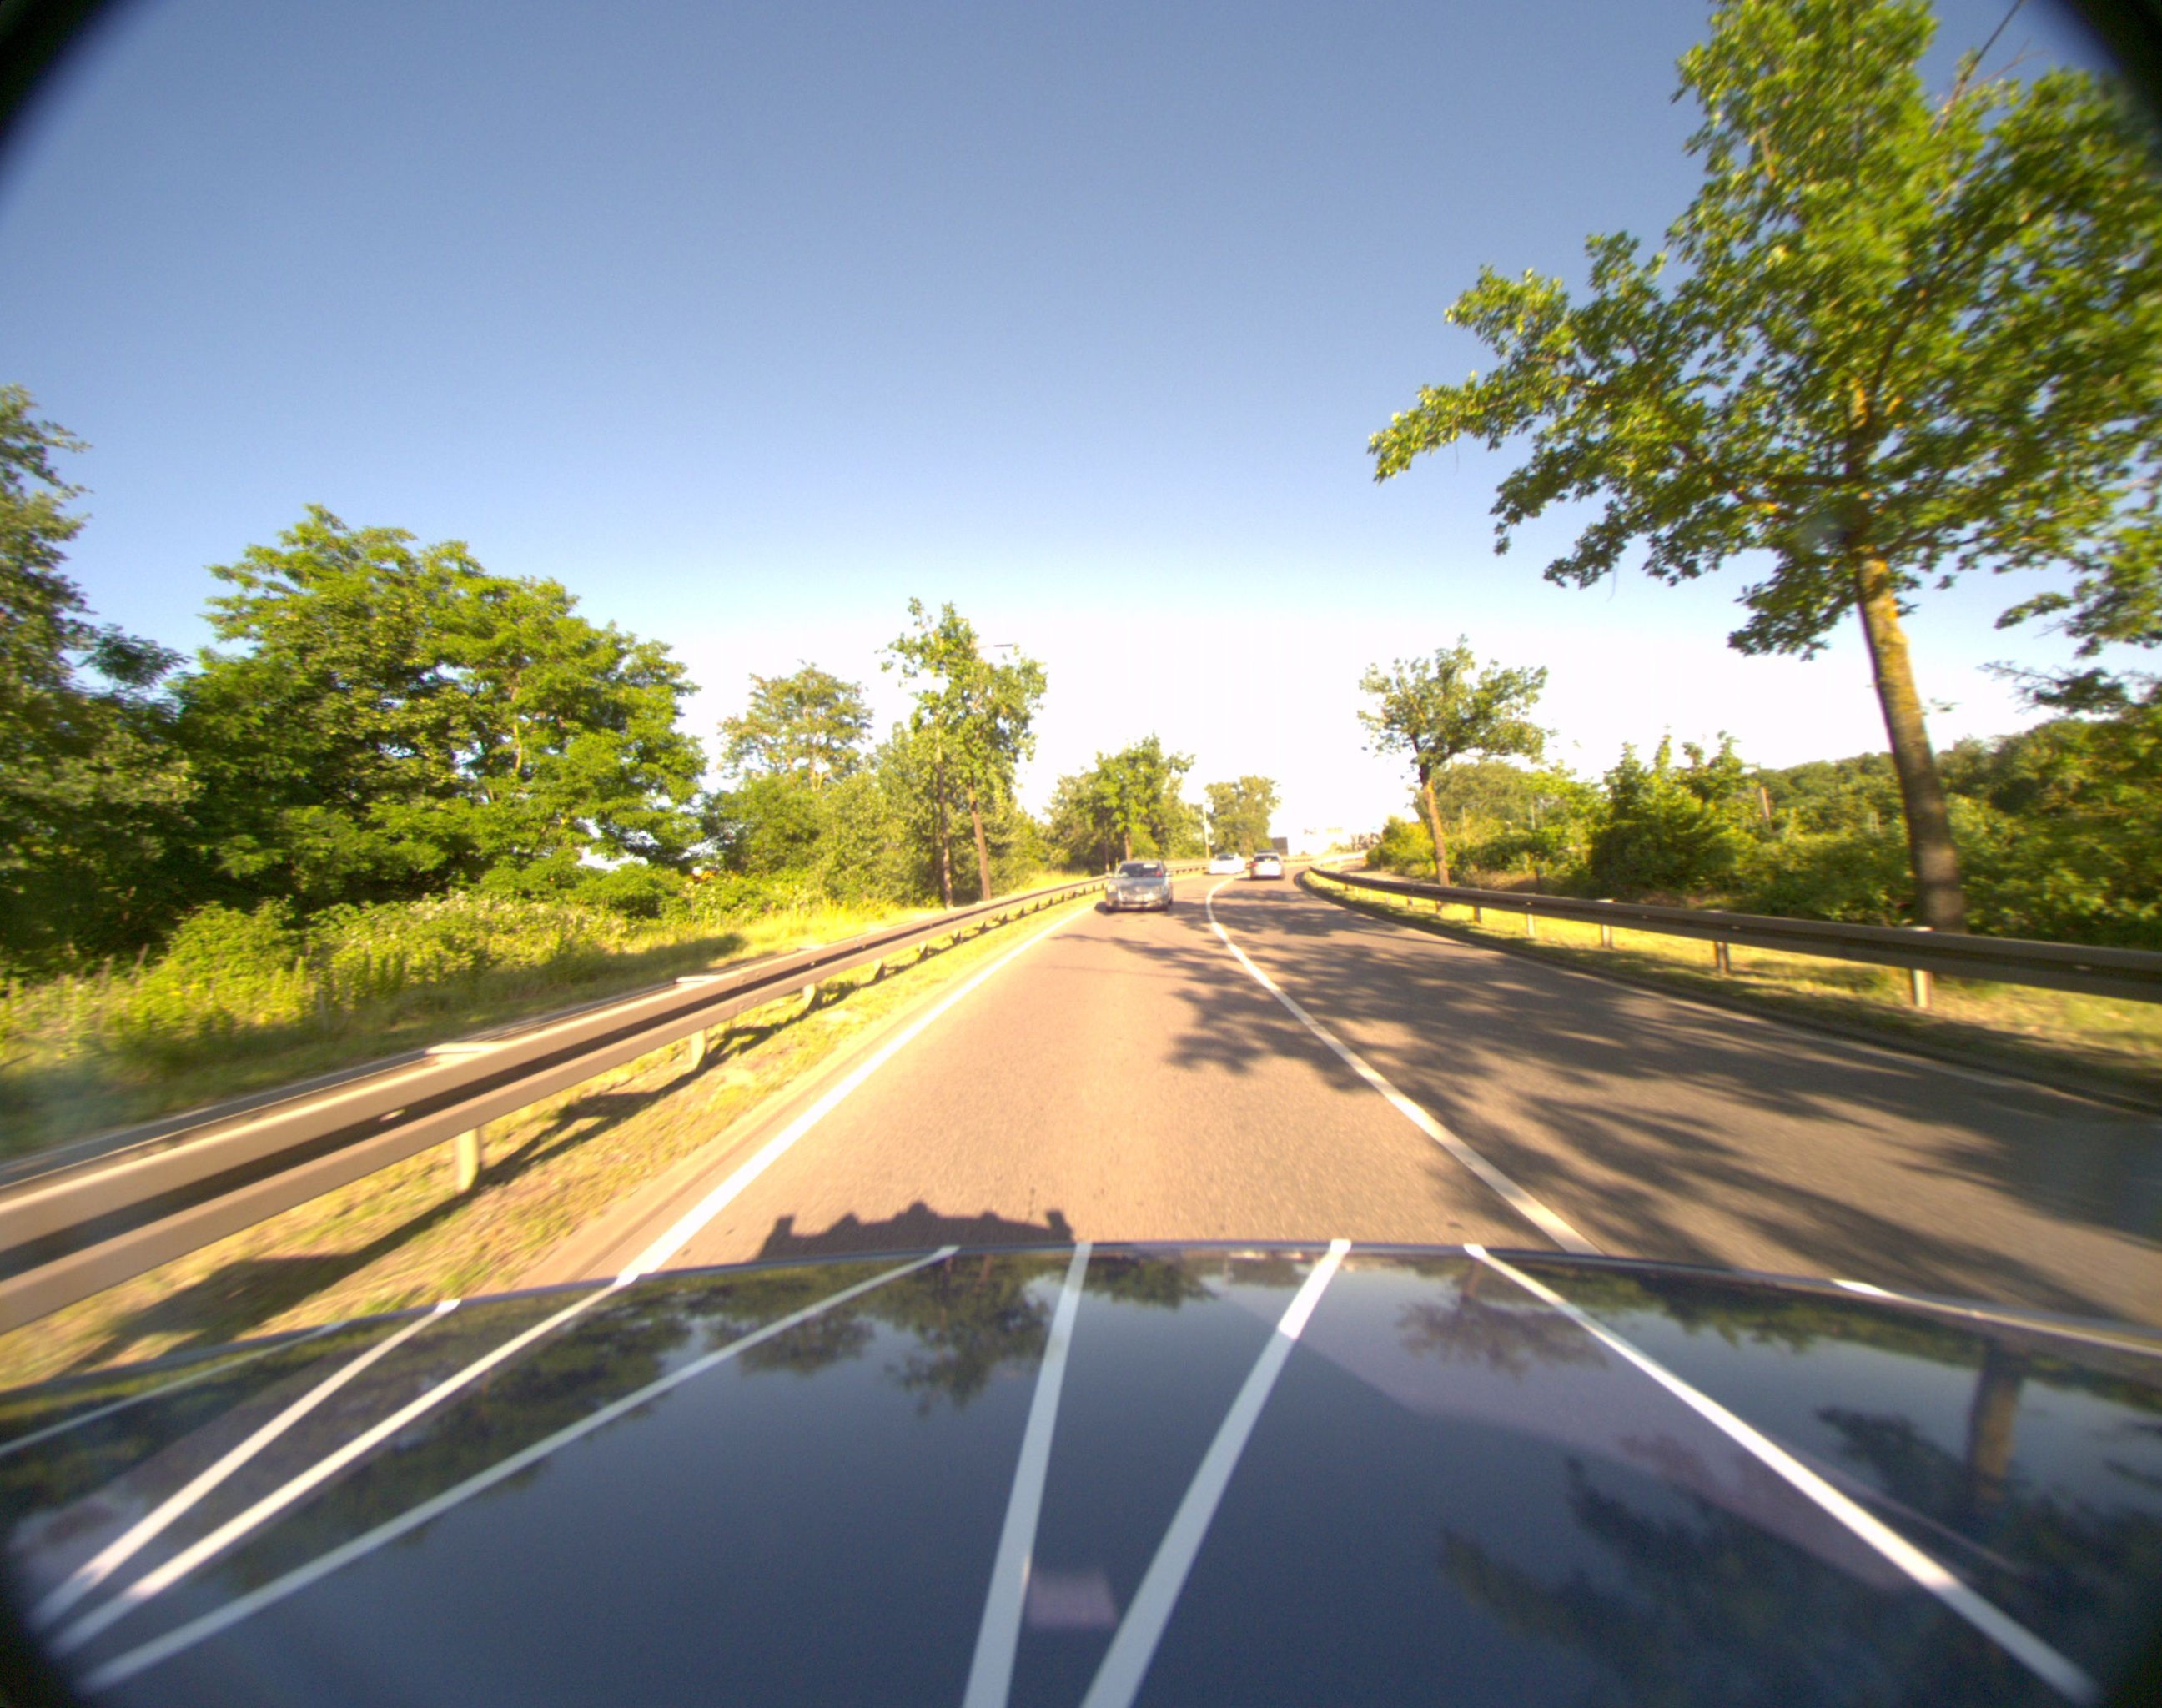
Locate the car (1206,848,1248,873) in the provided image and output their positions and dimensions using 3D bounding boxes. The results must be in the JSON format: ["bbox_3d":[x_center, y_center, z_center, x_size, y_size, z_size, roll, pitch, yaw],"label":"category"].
[{"bbox_3d":[10.253,0.424,53.176,2.146,1.558,4.204,-1,0,20],"label":"car"}]

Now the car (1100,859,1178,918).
[{"bbox_3d":[1.792,0.942,22.298,1.681,1.433,3.862,-3,0,13],"label":"car"}]

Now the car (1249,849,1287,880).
[{"bbox_3d":[10.176,0.545,41.190,1.697,1.509,3.986,-1,1,17],"label":"car"}]

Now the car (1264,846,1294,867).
[{"bbox_3d":[17.567,0.170,67.208,1.680,1.694,3.611,-2,1,28],"label":"car"}]
